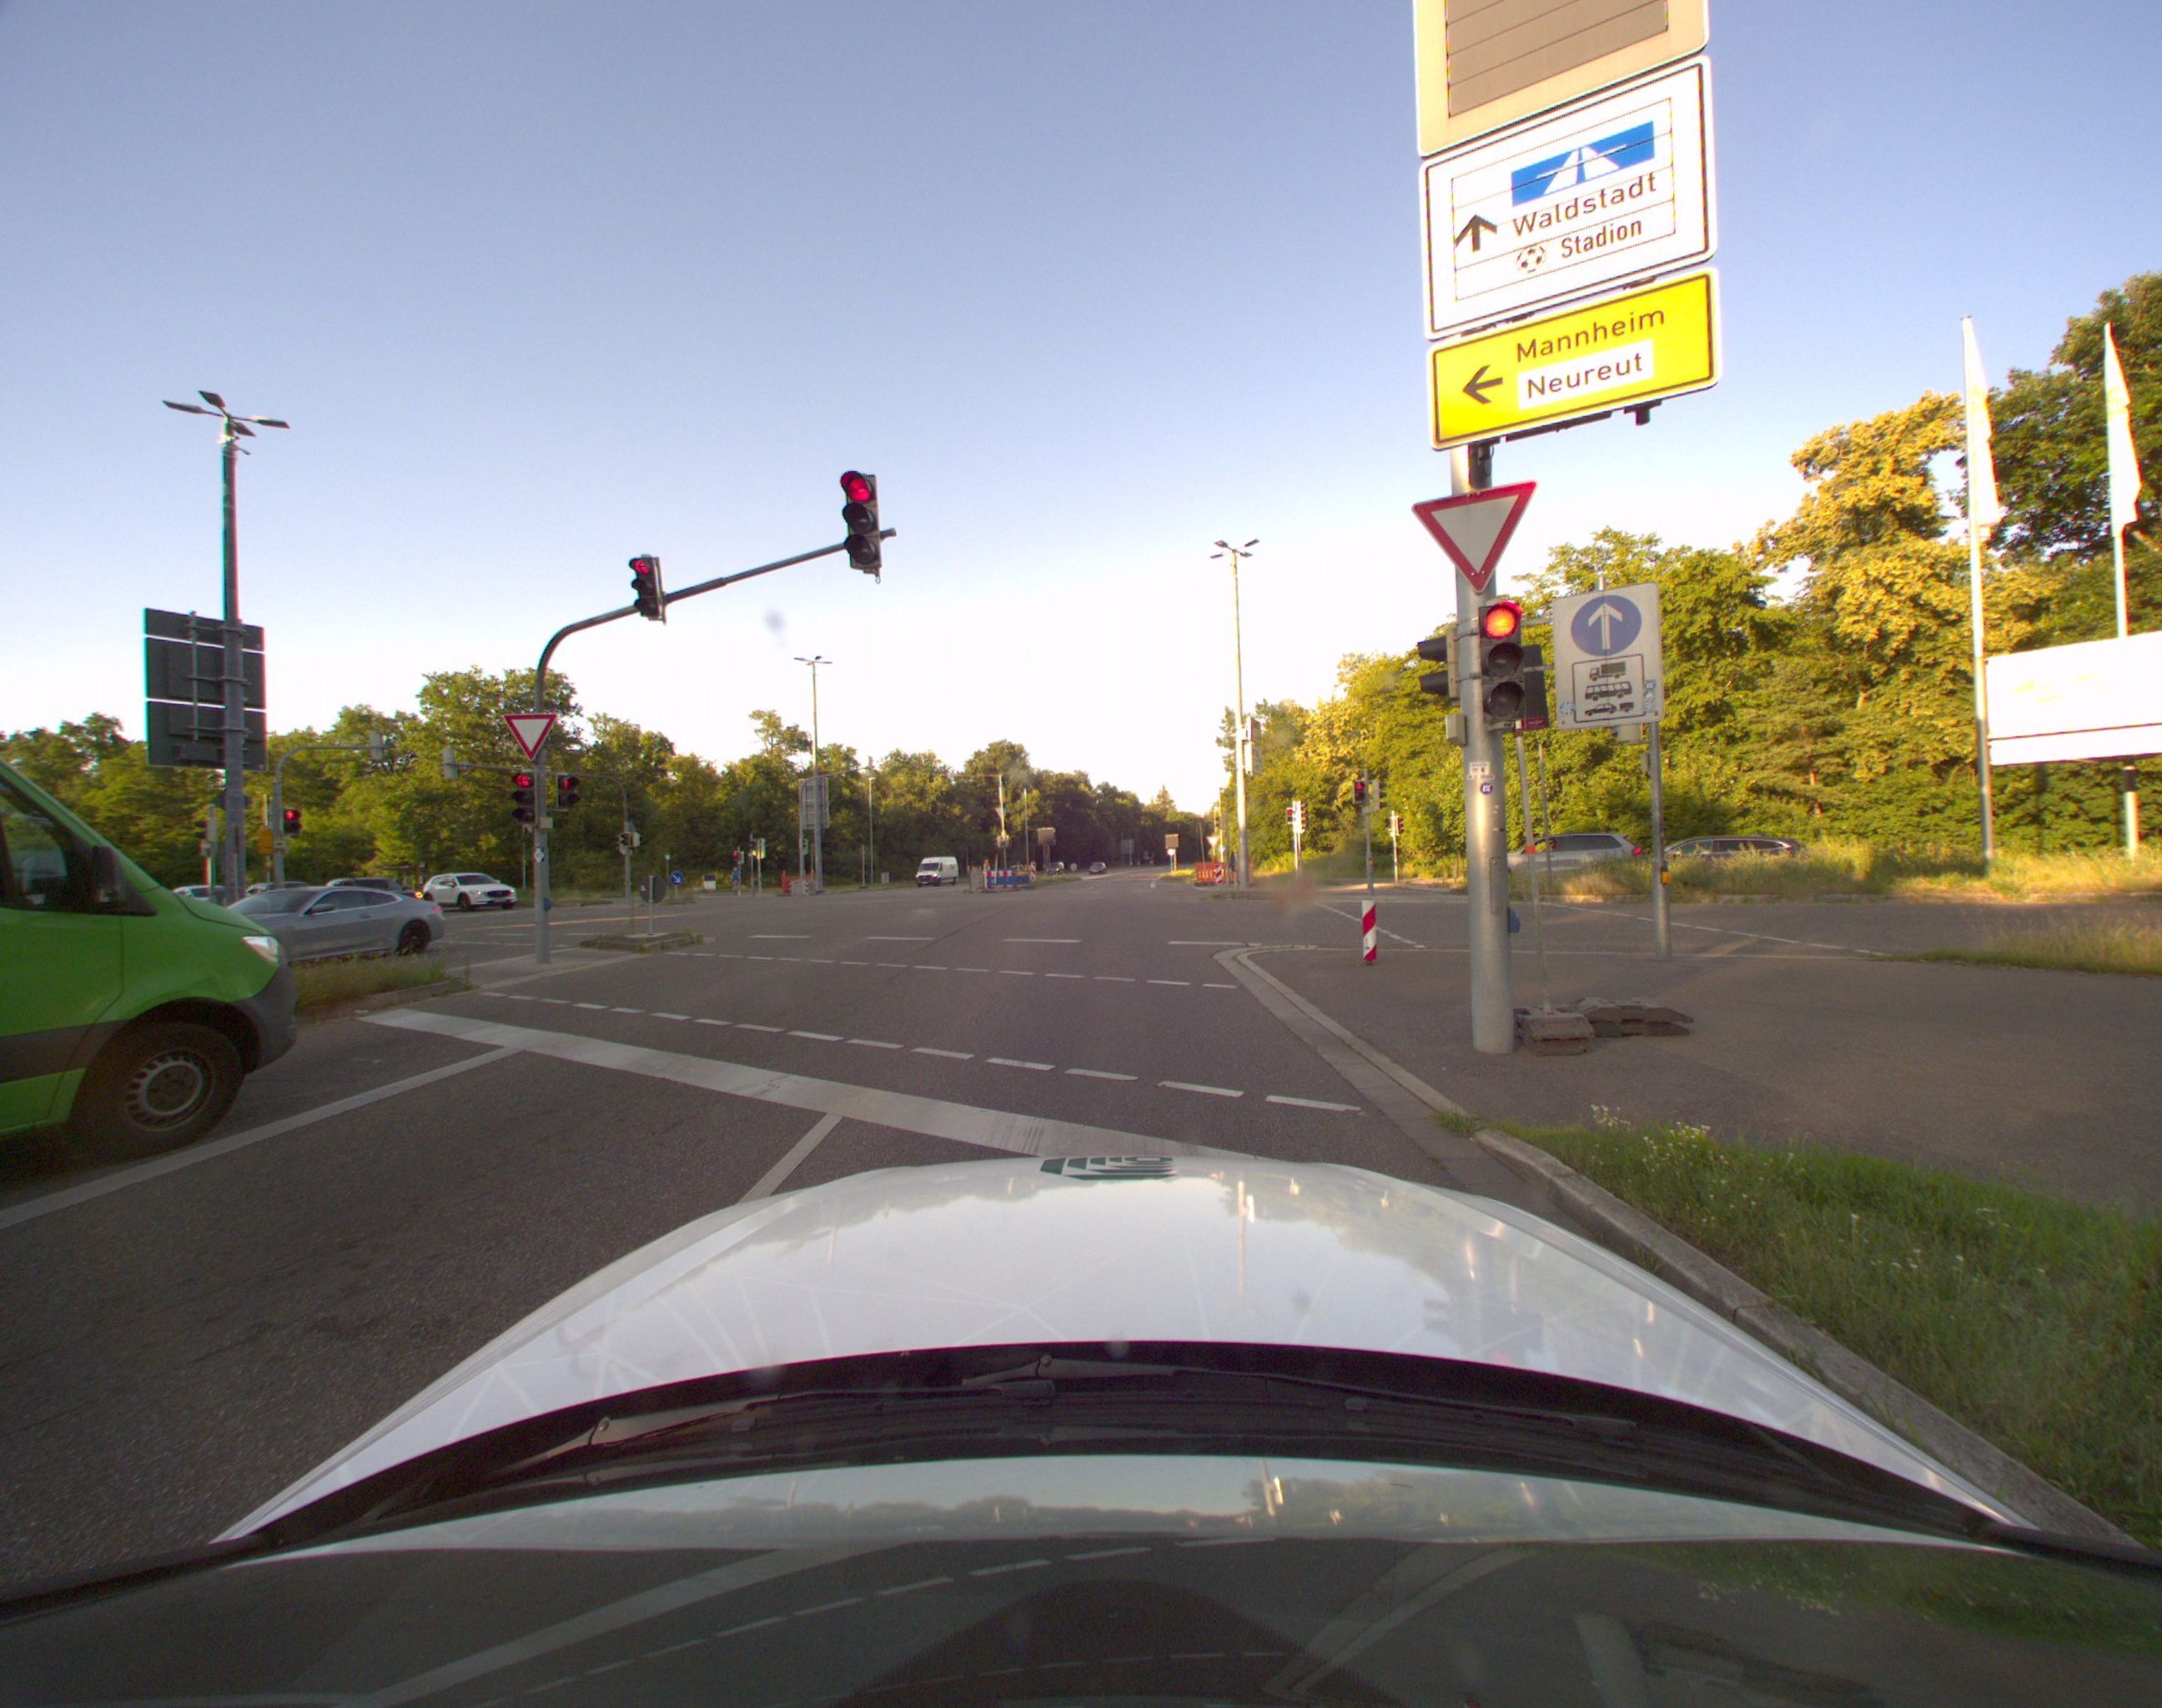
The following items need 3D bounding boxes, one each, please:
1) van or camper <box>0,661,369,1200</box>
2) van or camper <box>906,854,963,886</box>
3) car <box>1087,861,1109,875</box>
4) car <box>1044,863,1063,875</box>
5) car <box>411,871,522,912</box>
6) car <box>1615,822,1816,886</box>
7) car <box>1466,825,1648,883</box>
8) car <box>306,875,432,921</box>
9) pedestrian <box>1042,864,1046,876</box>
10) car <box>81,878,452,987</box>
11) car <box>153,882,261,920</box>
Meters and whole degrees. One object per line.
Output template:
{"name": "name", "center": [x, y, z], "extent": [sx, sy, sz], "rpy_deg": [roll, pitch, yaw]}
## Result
{"name": "van or camper", "center": [-5.863, 0.363, 2.551], "extent": [1.987, 2.421, 5.896], "rpy_deg": [-2, 0, 1]}
{"name": "van or camper", "center": [-13.002, 1.400, 72.929], "extent": [2.869, 2.652, 7.138], "rpy_deg": [-2, 0, 8]}
{"name": "car", "center": [2.234, 1.830, 105.484], "extent": [1.979, 1.640, 4.016], "rpy_deg": [-3, 0, 14]}
{"name": "car", "center": [-4.154, 2.229, 122.946], "extent": [1.981, 1.640, 4.011], "rpy_deg": [-2, 0, 9]}
{"name": "car", "center": [-26.766, 1.641, 35.488], "extent": [4.206, 1.640, 2.011], "rpy_deg": [-2, 0, 23]}
{"name": "car", "center": [16.488, 0.025, 21.405], "extent": [3.827, 1.489, 1.781], "rpy_deg": [-2, 0, 24]}
{"name": "car", "center": [15.024, 0.026, 26.069], "extent": [4.773, 1.598, 2.011], "rpy_deg": [-2, 0, 23]}
{"name": "car", "center": [-27.560, 1.698, 31.548], "extent": [4.206, 1.640, 2.011], "rpy_deg": [-2, 0, 23]}
{"name": "pedestrian", "center": [-6.254, 2.776, 137.410], "extent": [0.519, 2.014, 0.600], "rpy_deg": [0, -1, 2]}
{"name": "car", "center": [-13.736, 1.217, 14.245], "extent": [1.885, 1.441, 4.501], "rpy_deg": [-2, 0, 1]}
{"name": "car", "center": [-41.264, 2.210, 38.464], "extent": [4.207, 1.640, 2.011], "rpy_deg": [-2, 0, 21]}
